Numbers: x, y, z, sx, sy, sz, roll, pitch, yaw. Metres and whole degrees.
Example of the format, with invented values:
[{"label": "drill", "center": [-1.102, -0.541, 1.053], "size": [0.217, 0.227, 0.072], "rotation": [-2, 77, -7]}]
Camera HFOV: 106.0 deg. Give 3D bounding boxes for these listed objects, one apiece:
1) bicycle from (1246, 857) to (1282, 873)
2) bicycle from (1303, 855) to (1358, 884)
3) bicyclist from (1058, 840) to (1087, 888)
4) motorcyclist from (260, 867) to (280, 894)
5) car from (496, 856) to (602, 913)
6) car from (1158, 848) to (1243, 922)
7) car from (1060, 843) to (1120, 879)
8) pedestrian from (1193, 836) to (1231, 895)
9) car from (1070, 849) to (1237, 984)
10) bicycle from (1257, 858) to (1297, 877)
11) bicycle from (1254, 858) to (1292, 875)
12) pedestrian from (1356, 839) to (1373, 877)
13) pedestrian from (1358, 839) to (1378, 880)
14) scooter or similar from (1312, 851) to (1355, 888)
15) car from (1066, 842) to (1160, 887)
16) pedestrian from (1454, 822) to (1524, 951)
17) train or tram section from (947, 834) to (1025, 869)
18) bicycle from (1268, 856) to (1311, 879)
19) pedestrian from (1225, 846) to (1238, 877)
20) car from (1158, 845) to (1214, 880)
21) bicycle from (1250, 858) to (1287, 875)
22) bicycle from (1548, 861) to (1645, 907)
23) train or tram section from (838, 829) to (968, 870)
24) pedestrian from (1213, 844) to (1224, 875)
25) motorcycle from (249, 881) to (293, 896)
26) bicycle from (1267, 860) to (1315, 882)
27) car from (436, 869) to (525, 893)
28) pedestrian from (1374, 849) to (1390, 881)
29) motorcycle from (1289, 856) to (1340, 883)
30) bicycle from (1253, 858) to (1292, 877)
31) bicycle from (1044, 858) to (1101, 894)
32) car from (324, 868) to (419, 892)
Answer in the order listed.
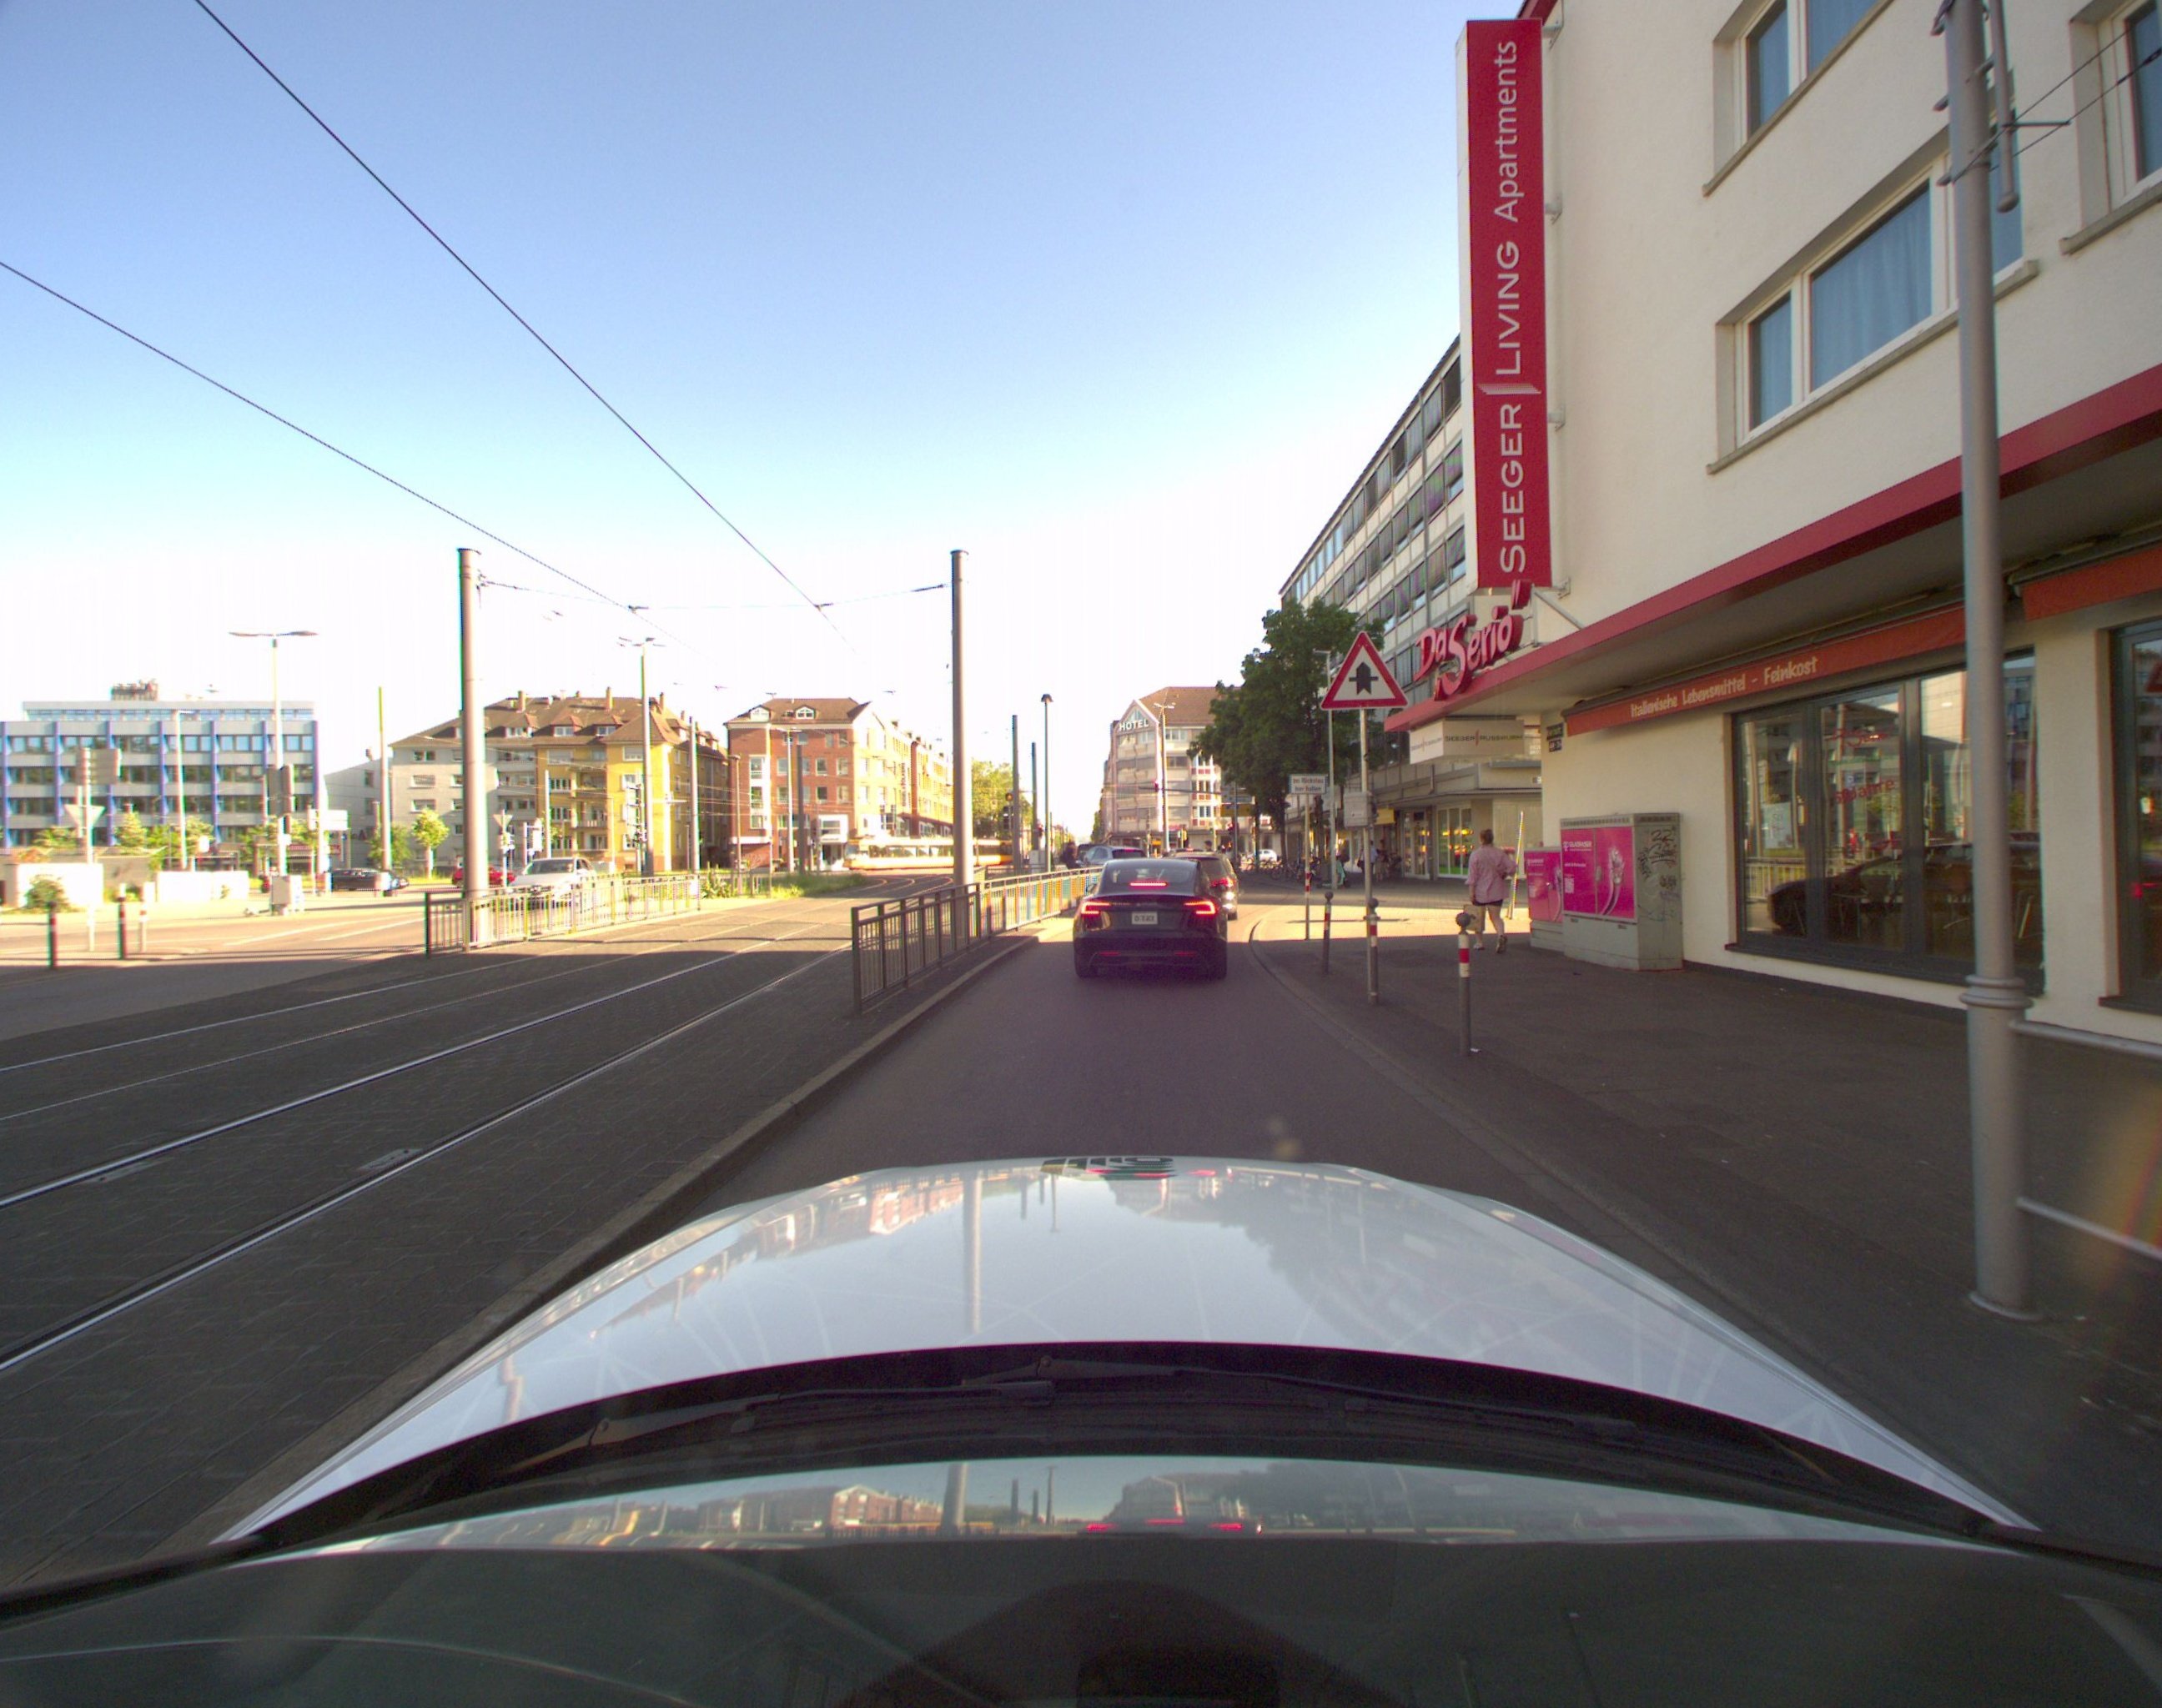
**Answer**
[{"label": "bicycle", "center": [10.308, 0.626, 45.932], "size": [1.917, 0.890, 0.526], "rotation": [-1, 0, 1]}, {"label": "bicycle", "center": [10.015, 0.612, 32.675], "size": [2.044, 1.121, 0.483], "rotation": [-1, -1, 1]}, {"label": "bicyclist", "center": [-0.277, 0.326, 26.015], "size": [0.835, 1.500, 0.558], "rotation": [1, 0, -7]}, {"label": "motorcyclist", "center": [-51.278, 1.655, 51.516], "size": [0.780, 1.708, 0.387], "rotation": [1, -1, -7]}, {"label": "car", "center": [-16.666, 0.894, 25.729], "size": [1.788, 1.568, 4.264], "rotation": [-2, 1, -20]}, {"label": "car", "center": [2.706, 0.601, 18.083], "size": [1.643, 1.418, 4.011], "rotation": [1, 1, 10]}, {"label": "car", "center": [0.317, 0.310, 36.665], "size": [1.825, 1.519, 4.201], "rotation": [1, 0, -12]}, {"label": "pedestrian", "center": [3.965, 0.357, 24.595], "size": [1.009, 1.742, 0.524], "rotation": [1, -1, -24]}, {"label": "car", "center": [0.791, 0.701, 10.876], "size": [1.843, 1.484, 3.786], "rotation": [0, 0, 0]}, {"label": "bicycle", "center": [10.058, 0.692, 41.793], "size": [1.917, 0.950, 0.526], "rotation": [-1, 0, 1]}, {"label": "bicycle", "center": [10.360, 0.691, 43.913], "size": [1.917, 0.888, 0.526], "rotation": [-1, 0, 1]}, {"label": "pedestrian", "center": [12.476, 0.172, 35.829], "size": [0.529, 1.641, 0.607], "rotation": [-2, -1, 2]}, {"label": "pedestrian", "center": [11.701, 0.235, 33.199], "size": [0.593, 1.641, 0.466], "rotation": [-2, -1, 2]}, {"label": "scooter or similar", "center": [9.403, 0.577, 30.301], "size": [1.415, 1.317, 0.691], "rotation": [-1, -2, -25]}, {"label": "car", "center": [1.102, 0.367, 30.316], "size": [1.791, 1.519, 4.184], "rotation": [1, 0, -24]}, {"label": "pedestrian", "center": [5.524, 0.420, 11.072], "size": [0.810, 1.683, 0.718], "rotation": [1, -1, 24]}, {"label": "train or tram section", "center": [-10.657, -0.197, 94.054], "size": [2.615, 3.718, 15.457], "rotation": [1, 0, 18]}, {"label": "bicycle", "center": [9.928, 0.631, 38.803], "size": [1.917, 1.097, 0.555], "rotation": [-1, 0, 1]}, {"label": "pedestrian", "center": [7.901, 0.398, 42.811], "size": [0.626, 1.613, 0.643], "rotation": [0, 0, 4]}, {"label": "car", "center": [4.723, 0.376, 37.171], "size": [1.821, 1.519, 3.644], "rotation": [1, 0, -4]}, {"label": "bicycle", "center": [10.364, 0.677, 45.008], "size": [1.917, 0.890, 0.526], "rotation": [-1, 0, 1]}, {"label": "bicycle", "center": [12.976, 0.739, 20.568], "size": [1.957, 1.072, 0.778], "rotation": [1, 0, 19]}, {"label": "train or tram section", "center": [-17.442, -0.364, 81.587], "size": [2.648, 3.715, 14.281], "rotation": [0, 0, 38]}, {"label": "pedestrian", "center": [7.596, 0.281, 44.964], "size": [0.559, 1.683, 0.751], "rotation": [0, 0, 6]}, {"label": "motorcycle", "center": [-51.241, 2.179, 51.528], "size": [1.996, 0.893, 0.560], "rotation": [1, 0, -8]}, {"label": "bicycle", "center": [9.489, 0.763, 36.906], "size": [2.044, 0.982, 0.483], "rotation": [-1, -1, 1]}, {"label": "car", "center": [-38.823, 1.723, 52.739], "size": [4.144, 1.490, 1.933], "rotation": [0, 0, -9]}, {"label": "pedestrian", "center": [12.258, 0.461, 33.192], "size": [0.418, 1.280, 0.531], "rotation": [-2, -1, 2]}, {"label": "motorcycle", "center": [9.940, 0.653, 34.661], "size": [1.984, 1.128, 0.596], "rotation": [1, 0, 0]}, {"label": "bicycle", "center": [10.044, 0.695, 42.809], "size": [1.917, 0.950, 0.526], "rotation": [-1, 0, 1]}, {"label": "bicycle", "center": [-0.278, 0.699, 26.075], "size": [1.726, 1.088, 0.676], "rotation": [1, 0, -7]}, {"label": "car", "center": [-45.755, 1.690, 52.607], "size": [4.144, 1.490, 1.933], "rotation": [0, 0, -9]}]
